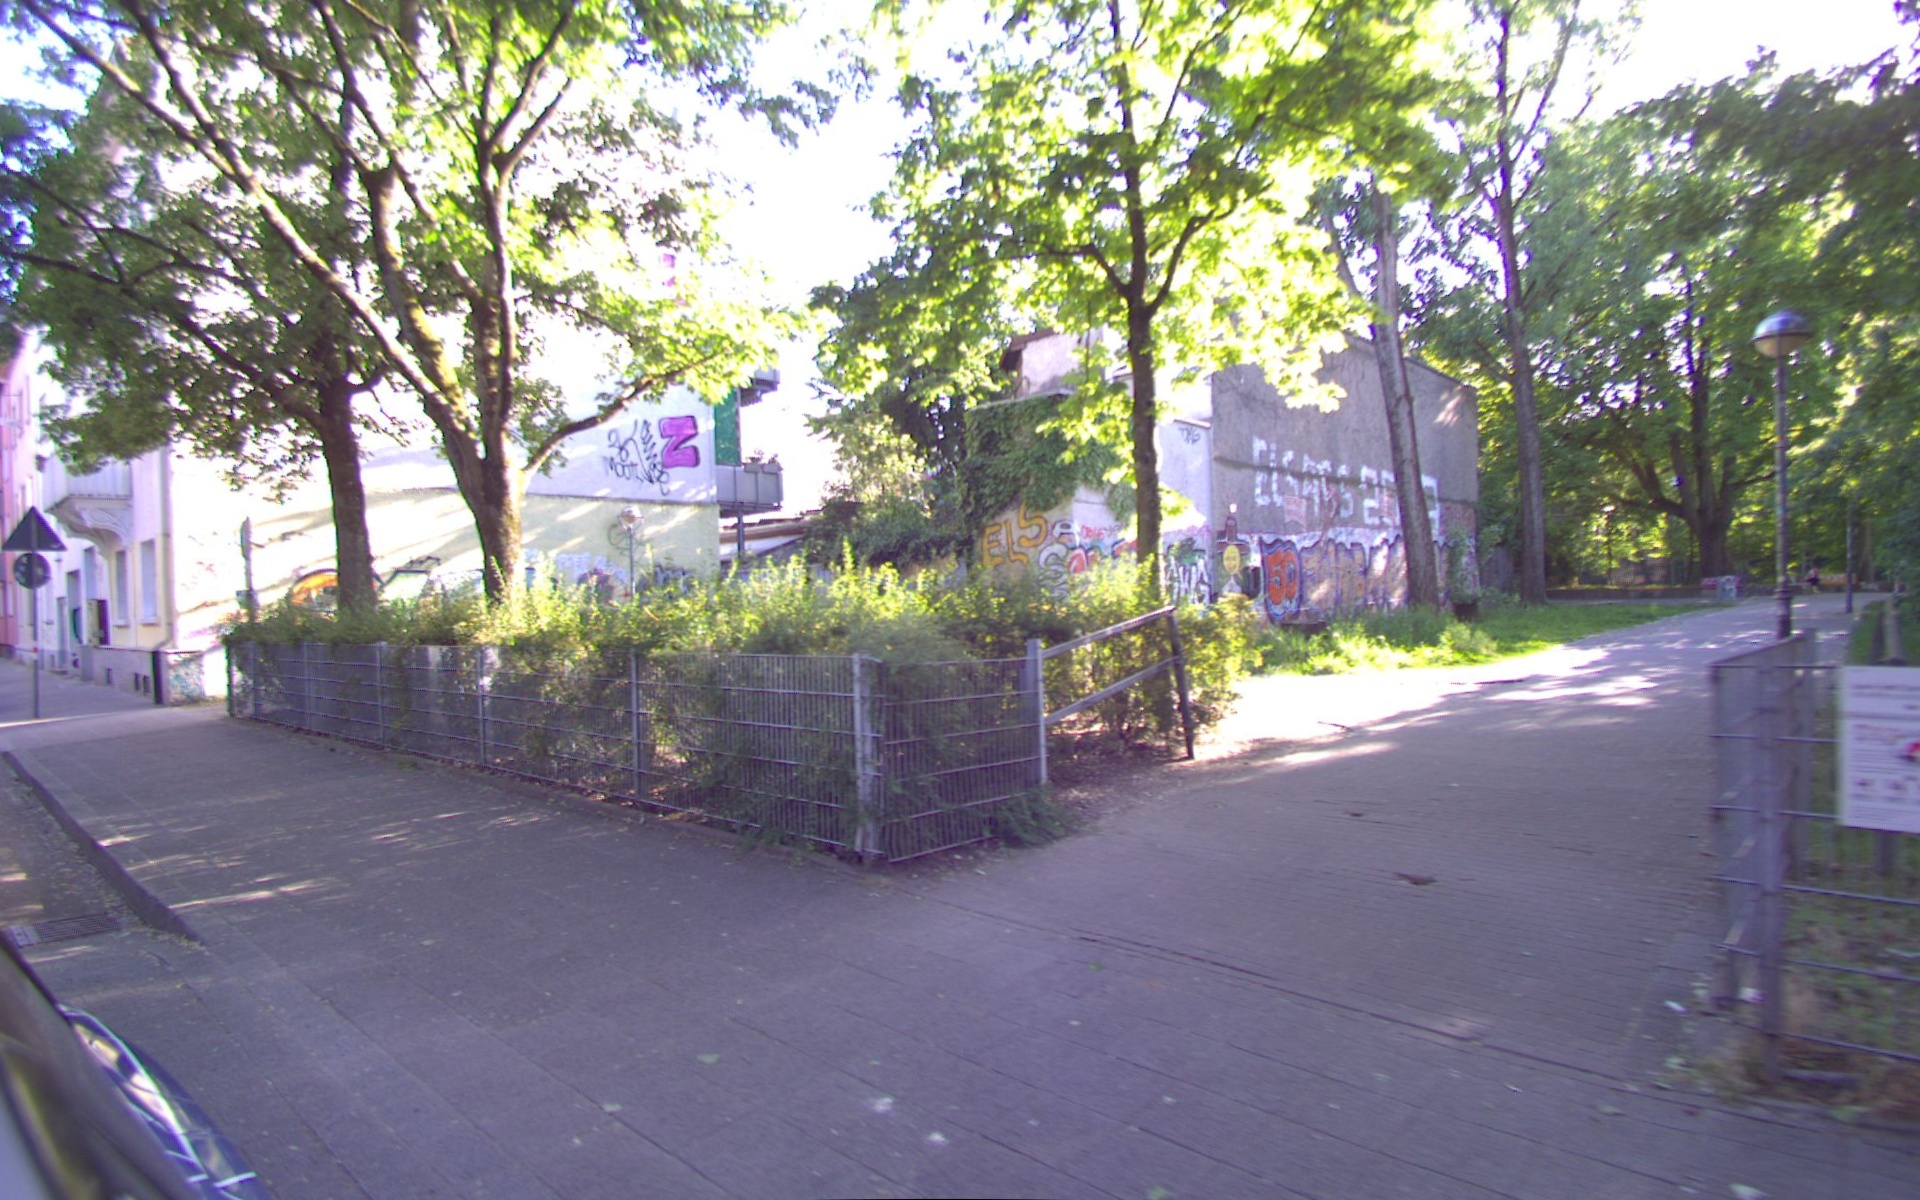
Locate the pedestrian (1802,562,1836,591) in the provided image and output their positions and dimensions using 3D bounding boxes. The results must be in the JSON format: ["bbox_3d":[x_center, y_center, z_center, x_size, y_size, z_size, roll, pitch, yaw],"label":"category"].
[{"bbox_3d":[33.539,-0.904,39.523,0.762,1.099,0.761,-2,0,17],"label":"pedestrian"}]

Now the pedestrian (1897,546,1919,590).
[{"bbox_3d":[34.999,-1.172,37.002,0.762,1.594,0.761,-2,0,17],"label":"pedestrian"}]
